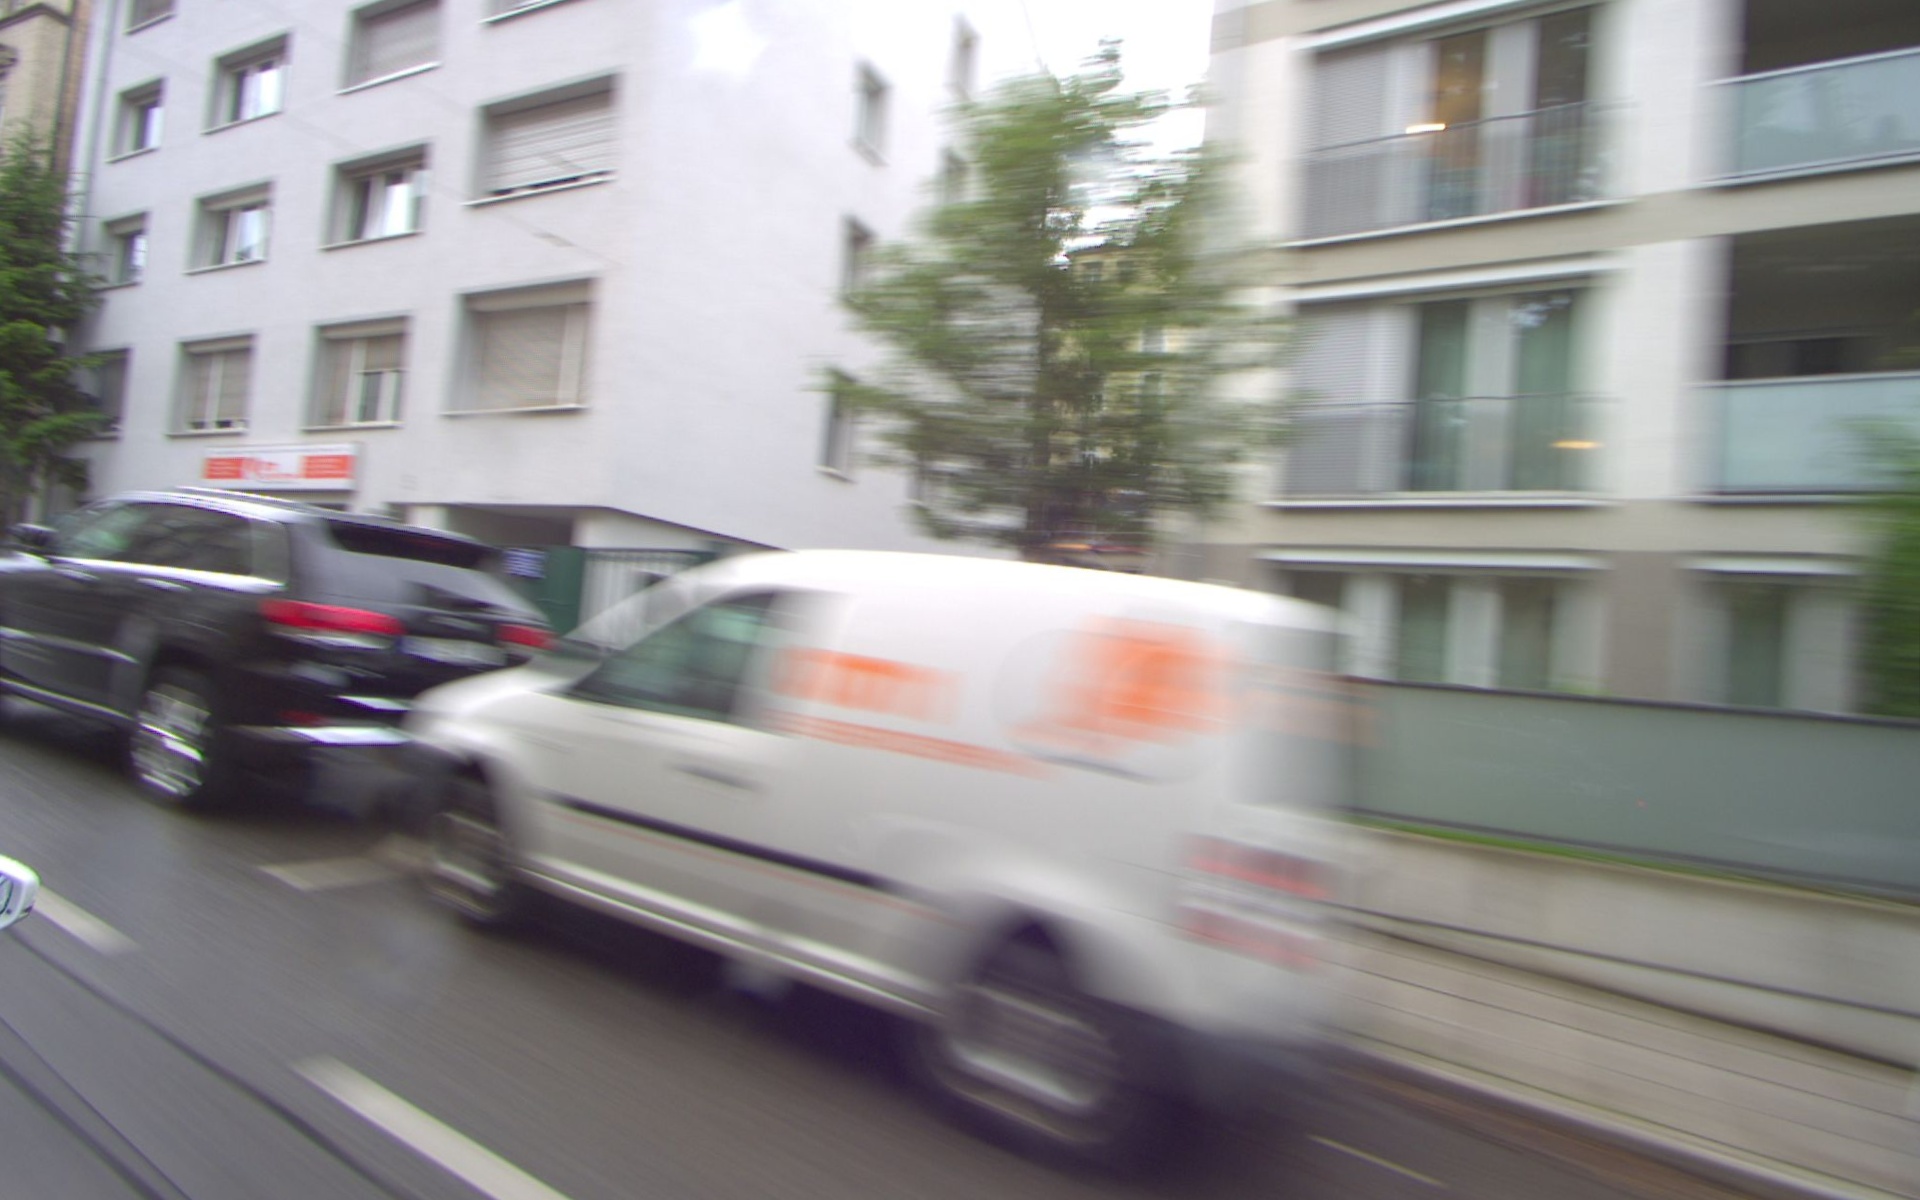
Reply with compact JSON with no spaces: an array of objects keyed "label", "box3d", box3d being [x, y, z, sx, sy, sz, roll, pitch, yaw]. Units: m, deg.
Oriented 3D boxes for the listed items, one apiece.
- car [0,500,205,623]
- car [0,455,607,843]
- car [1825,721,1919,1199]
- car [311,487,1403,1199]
[{"label":"car","box3d":[-14.470,-0.682,16.557,4.085,1.441,1.818,7,-4,33]},{"label":"car","box3d":[-5.001,0.174,6.913,4.736,1.815,1.949,6,-3,27]},{"label":"car","box3d":[4.525,1.355,1.418,4.607,1.675,1.837,6,-3,30]},{"label":"car","box3d":[-0.580,0.675,4.455,4.394,1.815,1.784,6,-2,28]}]
